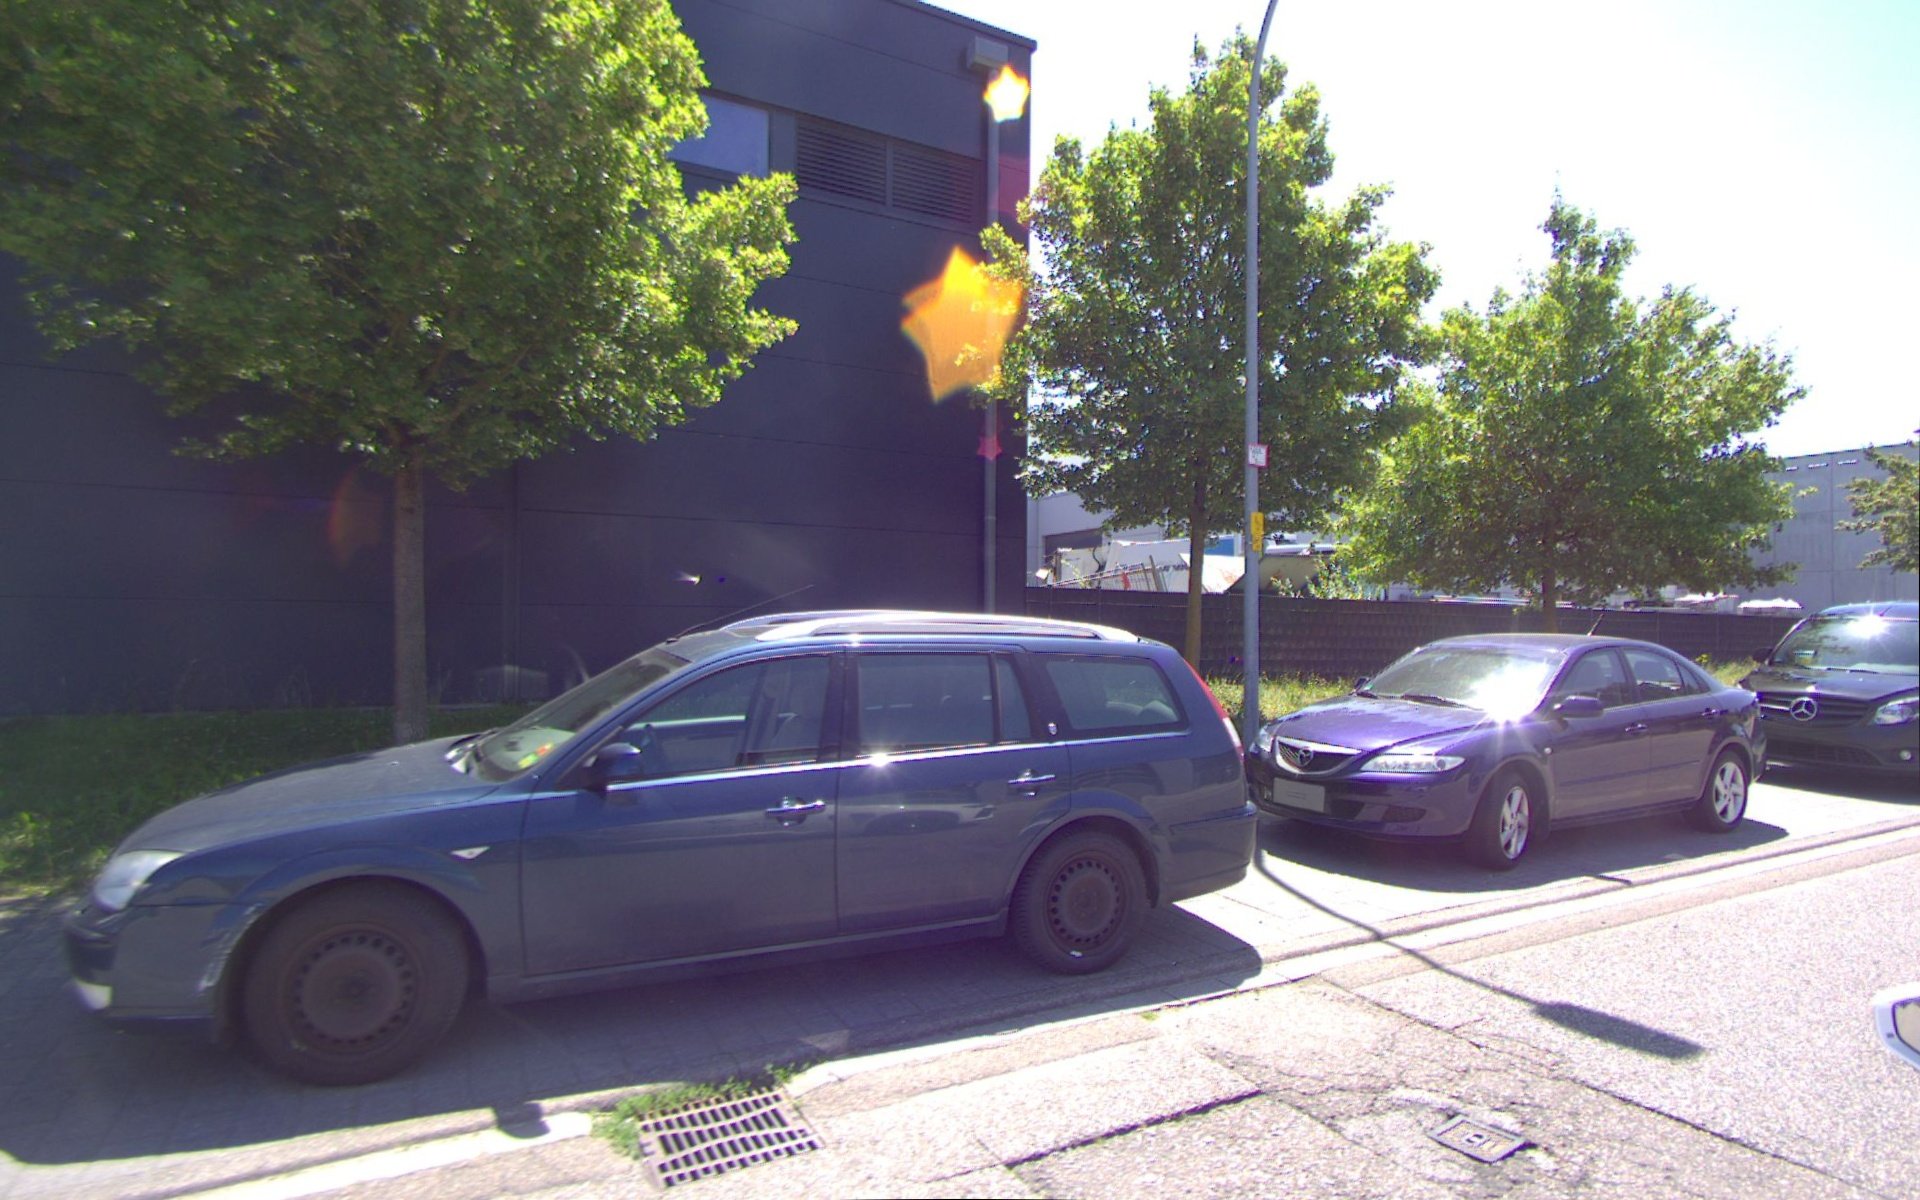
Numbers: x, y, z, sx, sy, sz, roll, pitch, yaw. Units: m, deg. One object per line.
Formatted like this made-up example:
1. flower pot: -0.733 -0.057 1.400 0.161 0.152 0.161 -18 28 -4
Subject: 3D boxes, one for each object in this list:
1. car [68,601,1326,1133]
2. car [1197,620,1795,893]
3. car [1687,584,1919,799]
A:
1. car: -0.747 0.807 4.576 4.571 1.495 1.795 1 -1 -23
2. car: 4.084 0.928 7.462 4.533 1.495 1.791 1 -1 -29
3. car: 9.598 0.831 10.389 4.201 1.838 1.791 1 -1 -29
